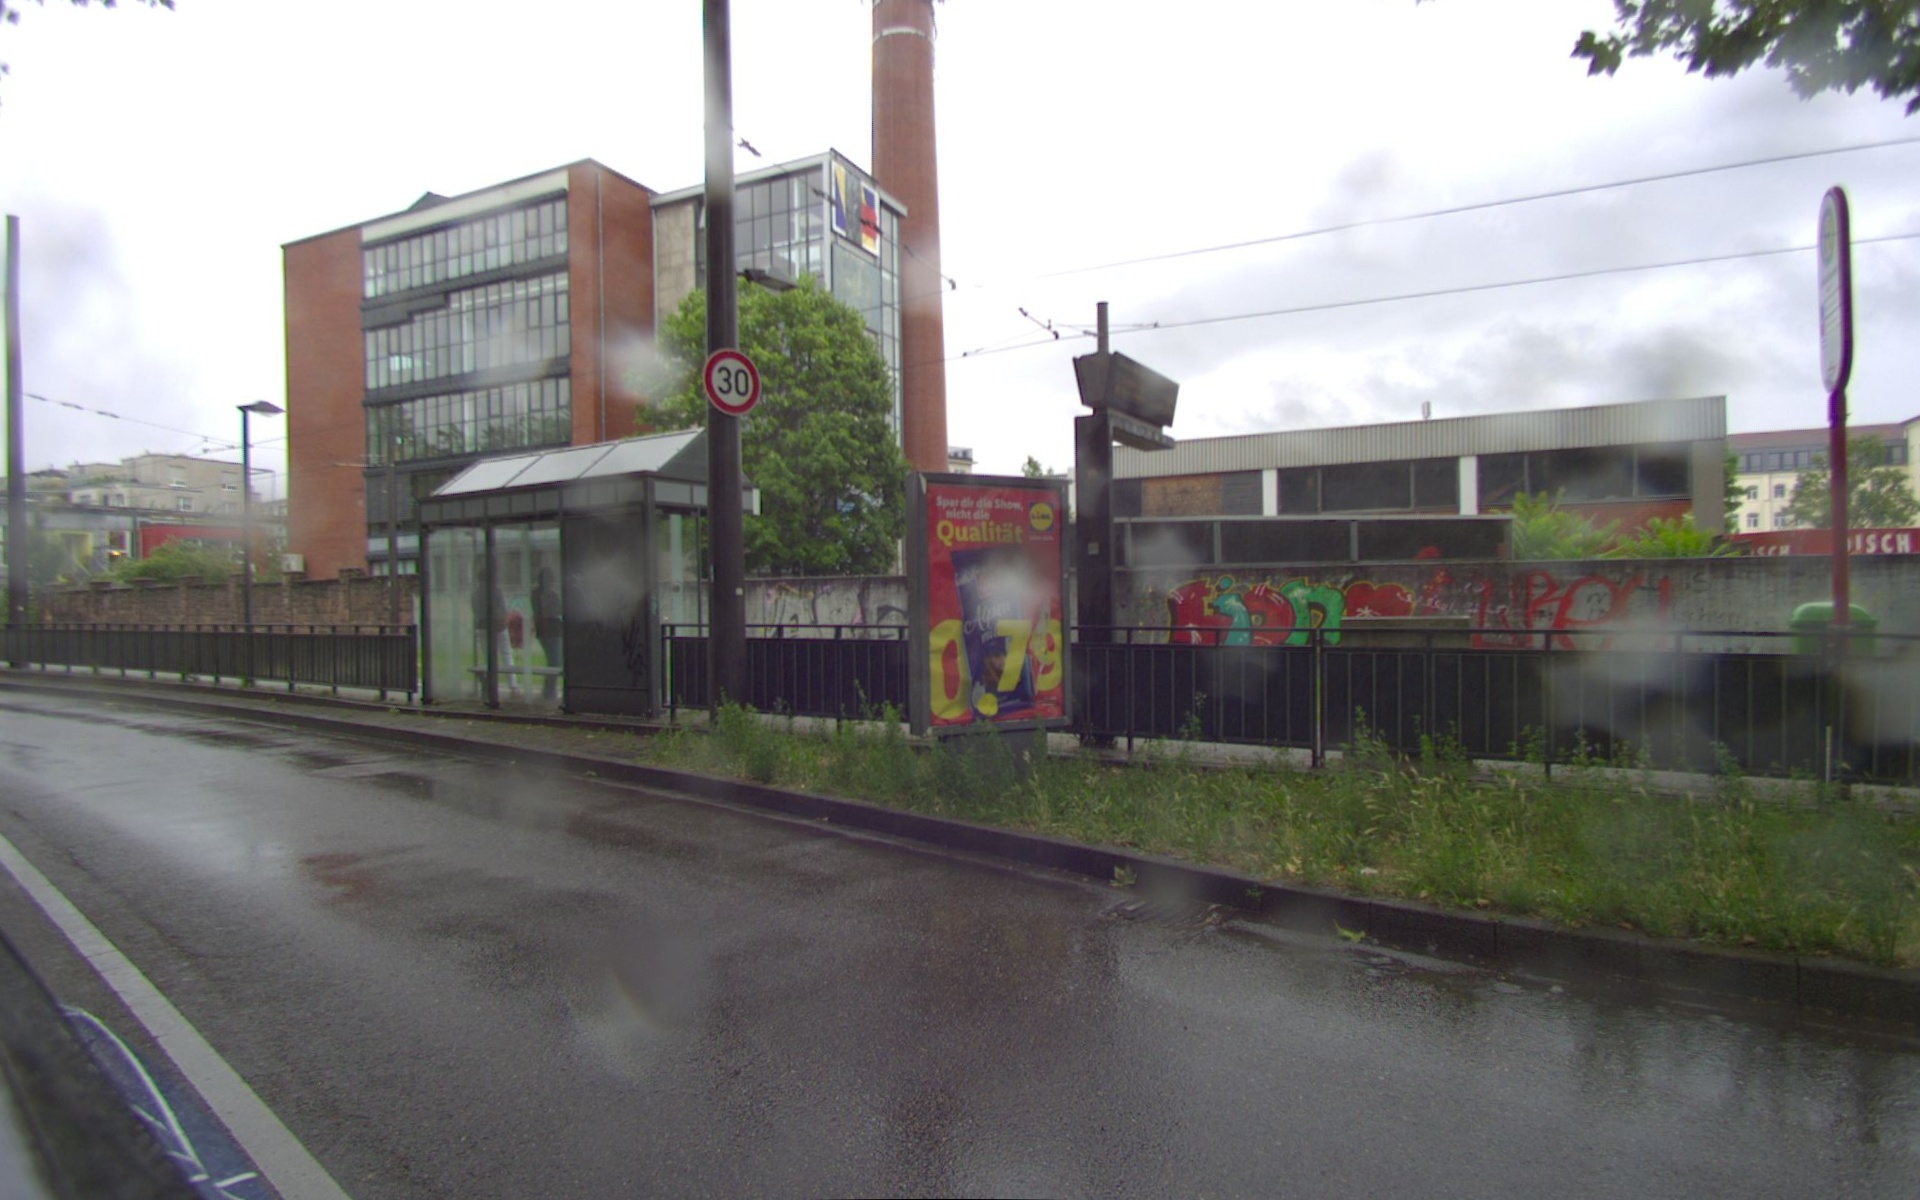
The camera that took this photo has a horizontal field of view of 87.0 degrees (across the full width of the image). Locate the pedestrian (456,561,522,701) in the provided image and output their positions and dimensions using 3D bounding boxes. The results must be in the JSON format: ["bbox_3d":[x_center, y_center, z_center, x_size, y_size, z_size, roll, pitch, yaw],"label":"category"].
[{"bbox_3d":[-6.013,0.397,12.936,0.560,1.744,0.583,0,-2,-1],"label":"pedestrian"}]

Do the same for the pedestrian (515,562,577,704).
[{"bbox_3d":[-5.207,0.406,12.750,0.560,1.744,0.583,0,-2,-3],"label":"pedestrian"}]

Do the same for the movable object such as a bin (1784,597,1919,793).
[{"bbox_3d":[5.262,0.538,5.952,0.528,1.098,0.414,-1,-2,25],"label":"movable object such as a bin"}]
